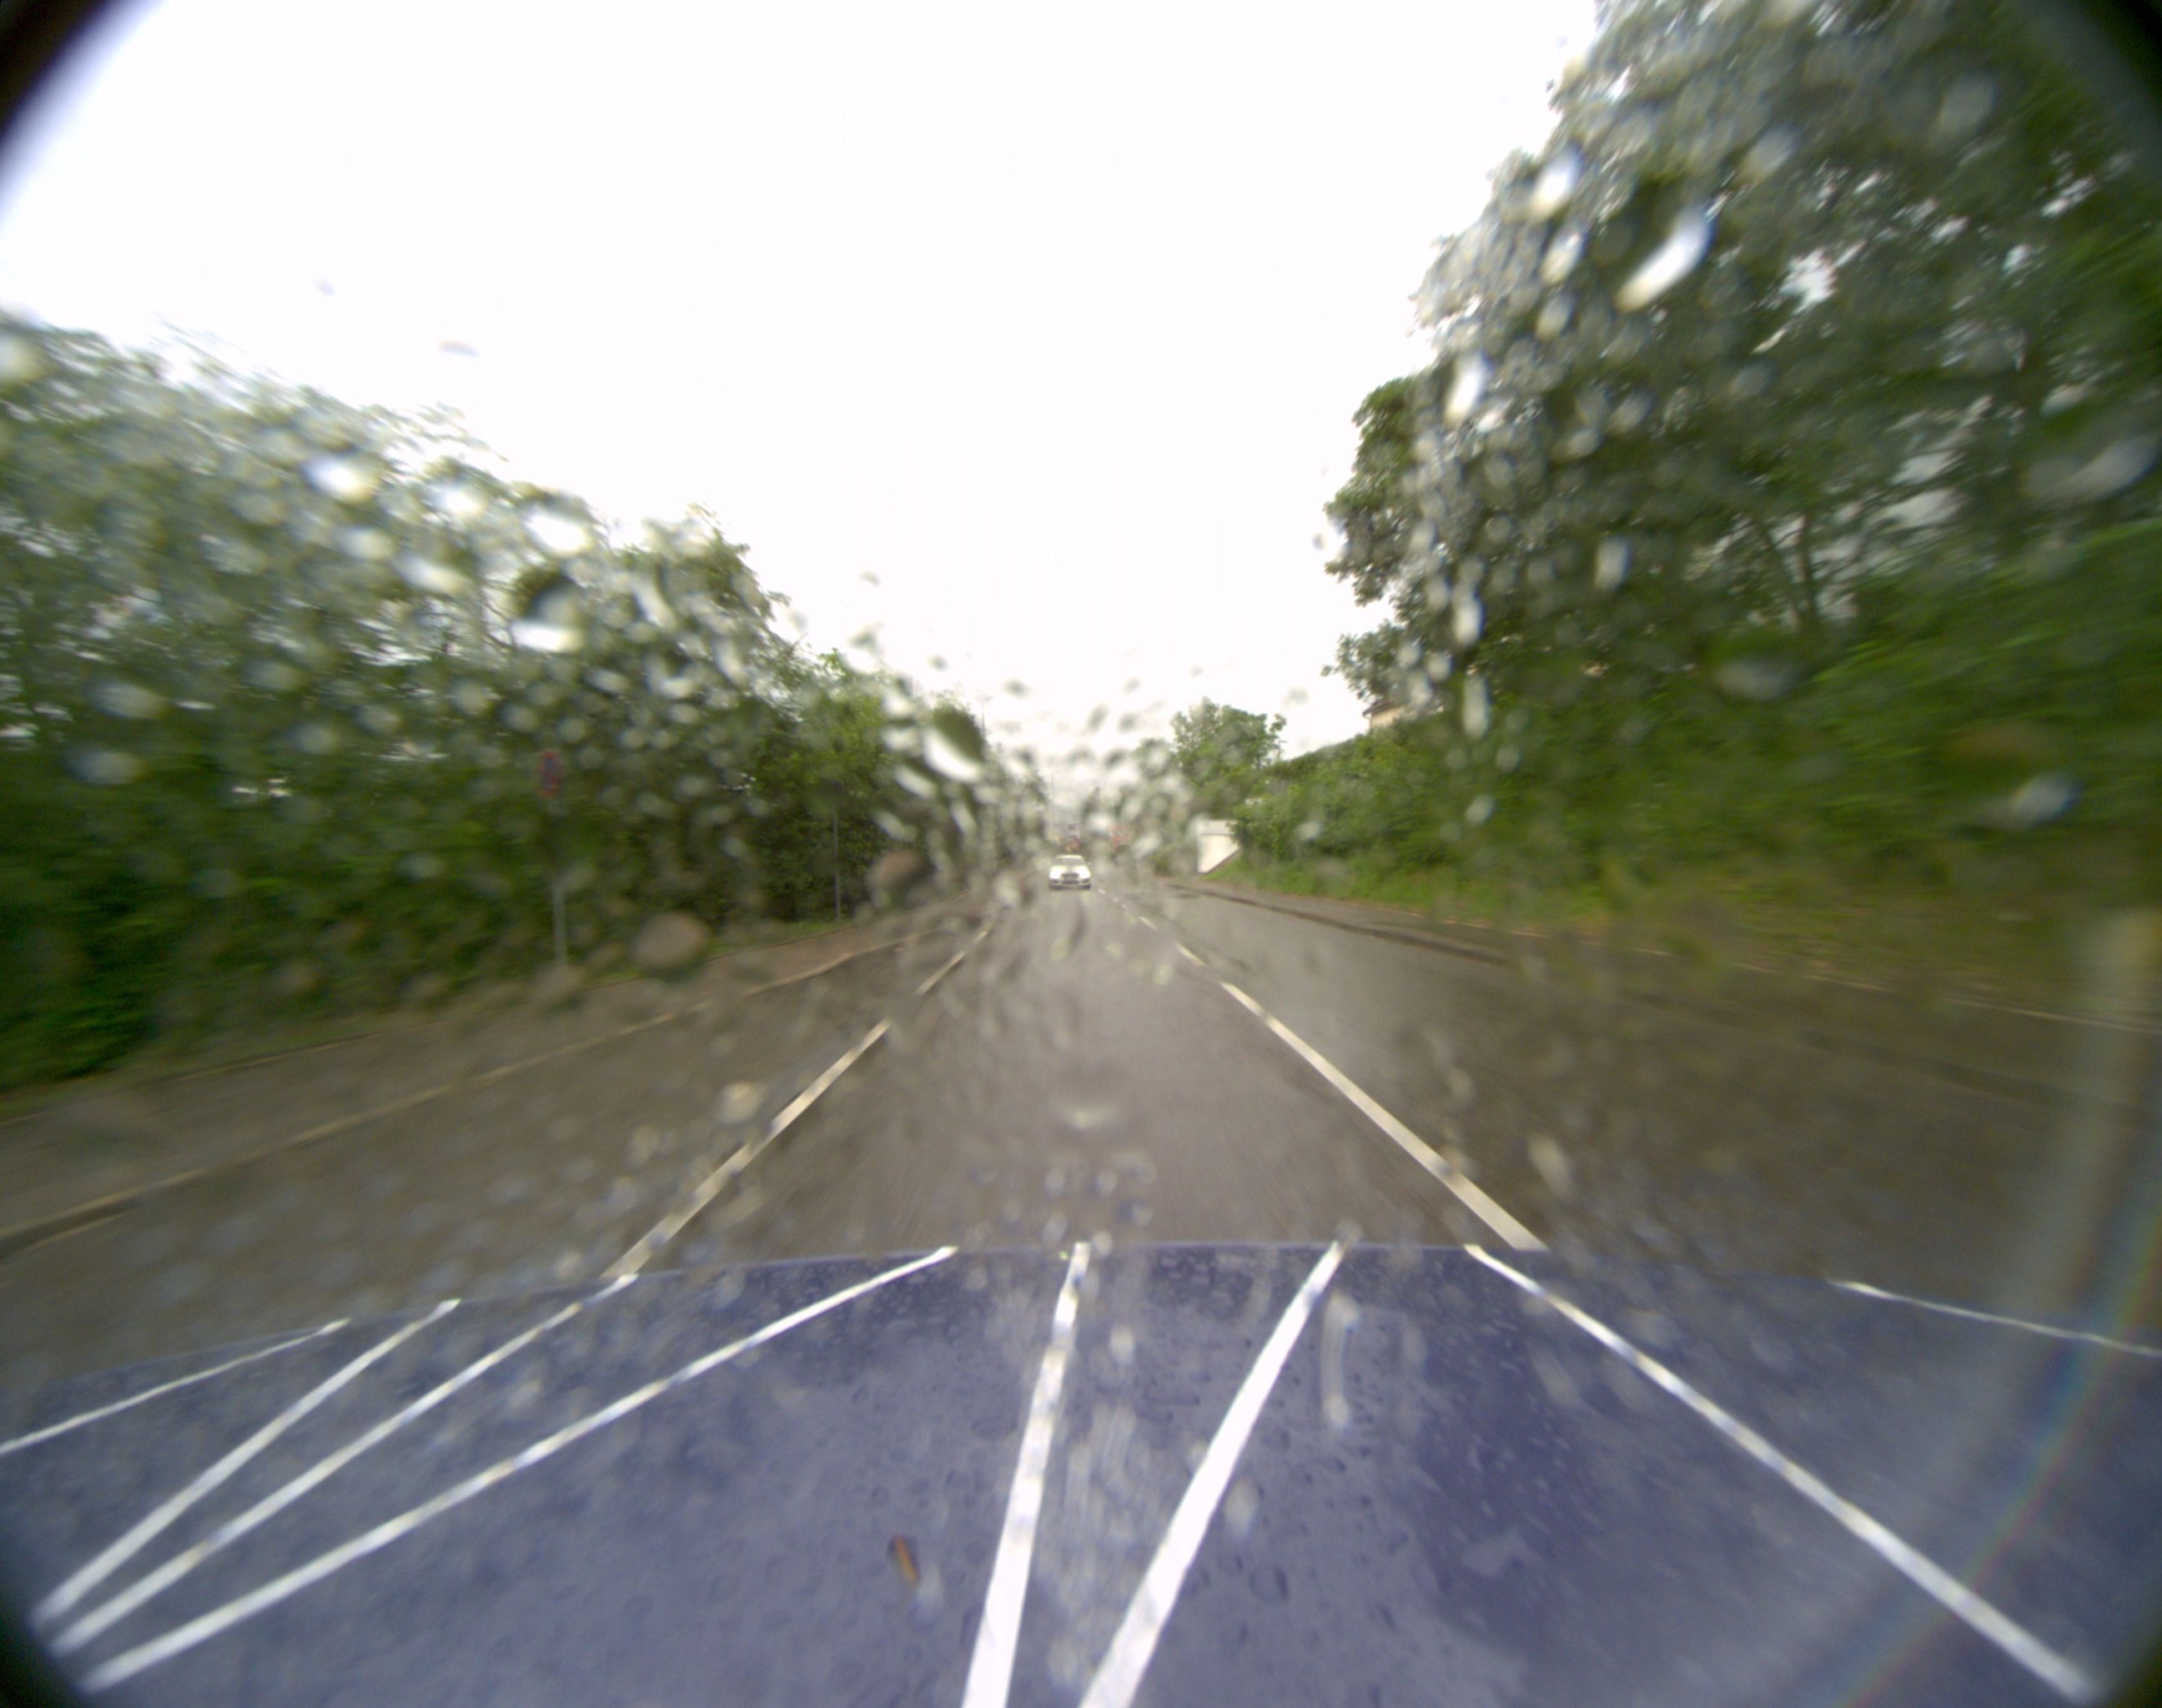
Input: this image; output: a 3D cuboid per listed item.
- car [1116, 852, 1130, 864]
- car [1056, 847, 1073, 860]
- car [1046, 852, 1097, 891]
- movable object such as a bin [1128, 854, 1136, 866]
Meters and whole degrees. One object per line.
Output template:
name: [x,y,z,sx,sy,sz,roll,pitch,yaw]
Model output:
car: [5.145,0.472,92.218,1.654,1.377,3.530,0,0,4]
car: [-2.242,-0.073,103.505,1.631,1.485,3.427,7,2,6]
car: [-0.356,0.725,33.495,1.797,1.455,4.000,3,2,4]
movable object such as a bin: [4.935,0.576,73.399,0.649,1.109,0.505,1,1,6]
